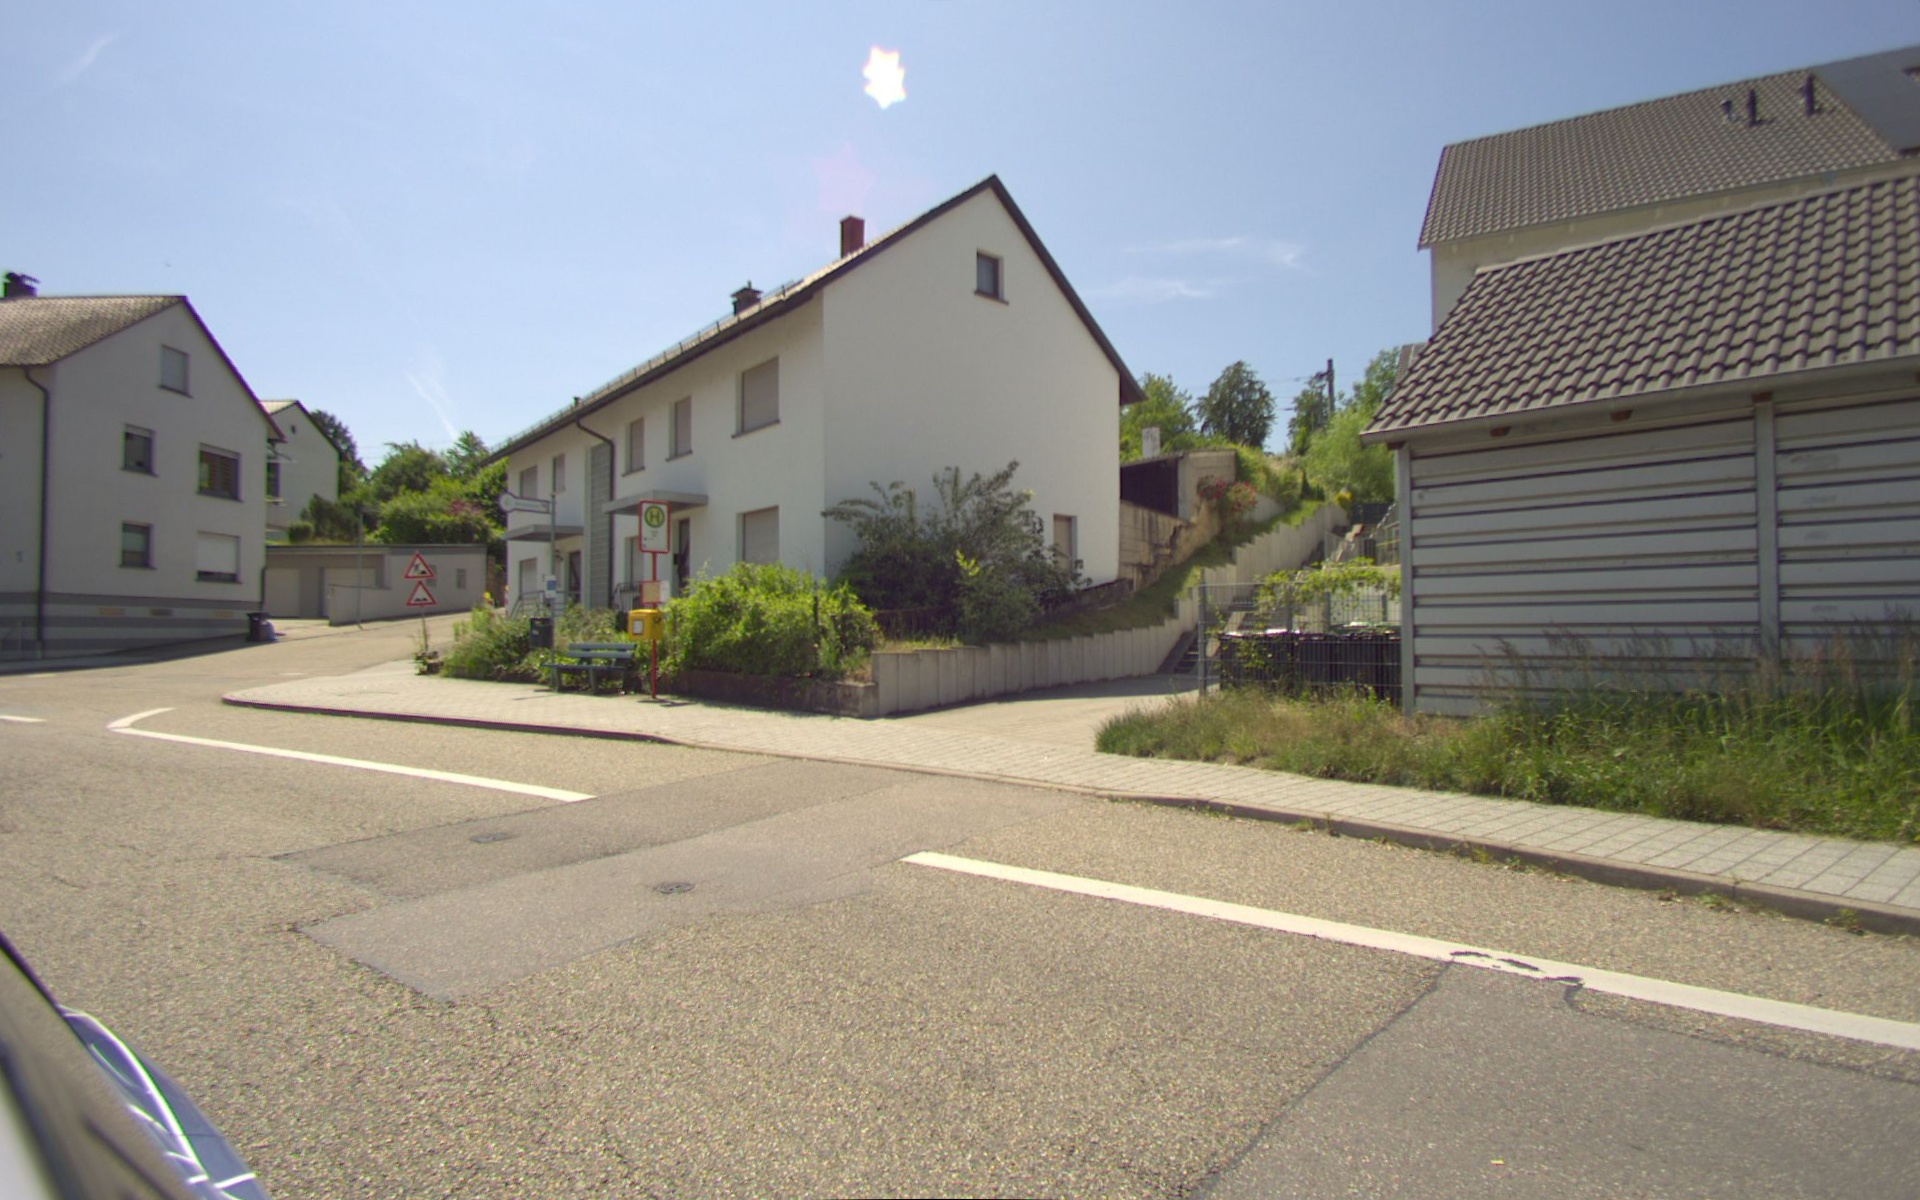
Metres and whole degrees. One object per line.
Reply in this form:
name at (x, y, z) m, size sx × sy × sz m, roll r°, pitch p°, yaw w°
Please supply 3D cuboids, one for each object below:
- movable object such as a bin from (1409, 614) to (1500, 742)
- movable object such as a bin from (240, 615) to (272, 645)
movable object such as a bin at (5.207, 0.796, 10.665) m, size 0.694 × 1.288 × 0.633 m, roll -1°, pitch -2°, yaw 43°
movable object such as a bin at (-22.582, 0.963, 32.456) m, size 0.592 × 0.941 × 0.600 m, roll 0°, pitch -2°, yaw -2°
